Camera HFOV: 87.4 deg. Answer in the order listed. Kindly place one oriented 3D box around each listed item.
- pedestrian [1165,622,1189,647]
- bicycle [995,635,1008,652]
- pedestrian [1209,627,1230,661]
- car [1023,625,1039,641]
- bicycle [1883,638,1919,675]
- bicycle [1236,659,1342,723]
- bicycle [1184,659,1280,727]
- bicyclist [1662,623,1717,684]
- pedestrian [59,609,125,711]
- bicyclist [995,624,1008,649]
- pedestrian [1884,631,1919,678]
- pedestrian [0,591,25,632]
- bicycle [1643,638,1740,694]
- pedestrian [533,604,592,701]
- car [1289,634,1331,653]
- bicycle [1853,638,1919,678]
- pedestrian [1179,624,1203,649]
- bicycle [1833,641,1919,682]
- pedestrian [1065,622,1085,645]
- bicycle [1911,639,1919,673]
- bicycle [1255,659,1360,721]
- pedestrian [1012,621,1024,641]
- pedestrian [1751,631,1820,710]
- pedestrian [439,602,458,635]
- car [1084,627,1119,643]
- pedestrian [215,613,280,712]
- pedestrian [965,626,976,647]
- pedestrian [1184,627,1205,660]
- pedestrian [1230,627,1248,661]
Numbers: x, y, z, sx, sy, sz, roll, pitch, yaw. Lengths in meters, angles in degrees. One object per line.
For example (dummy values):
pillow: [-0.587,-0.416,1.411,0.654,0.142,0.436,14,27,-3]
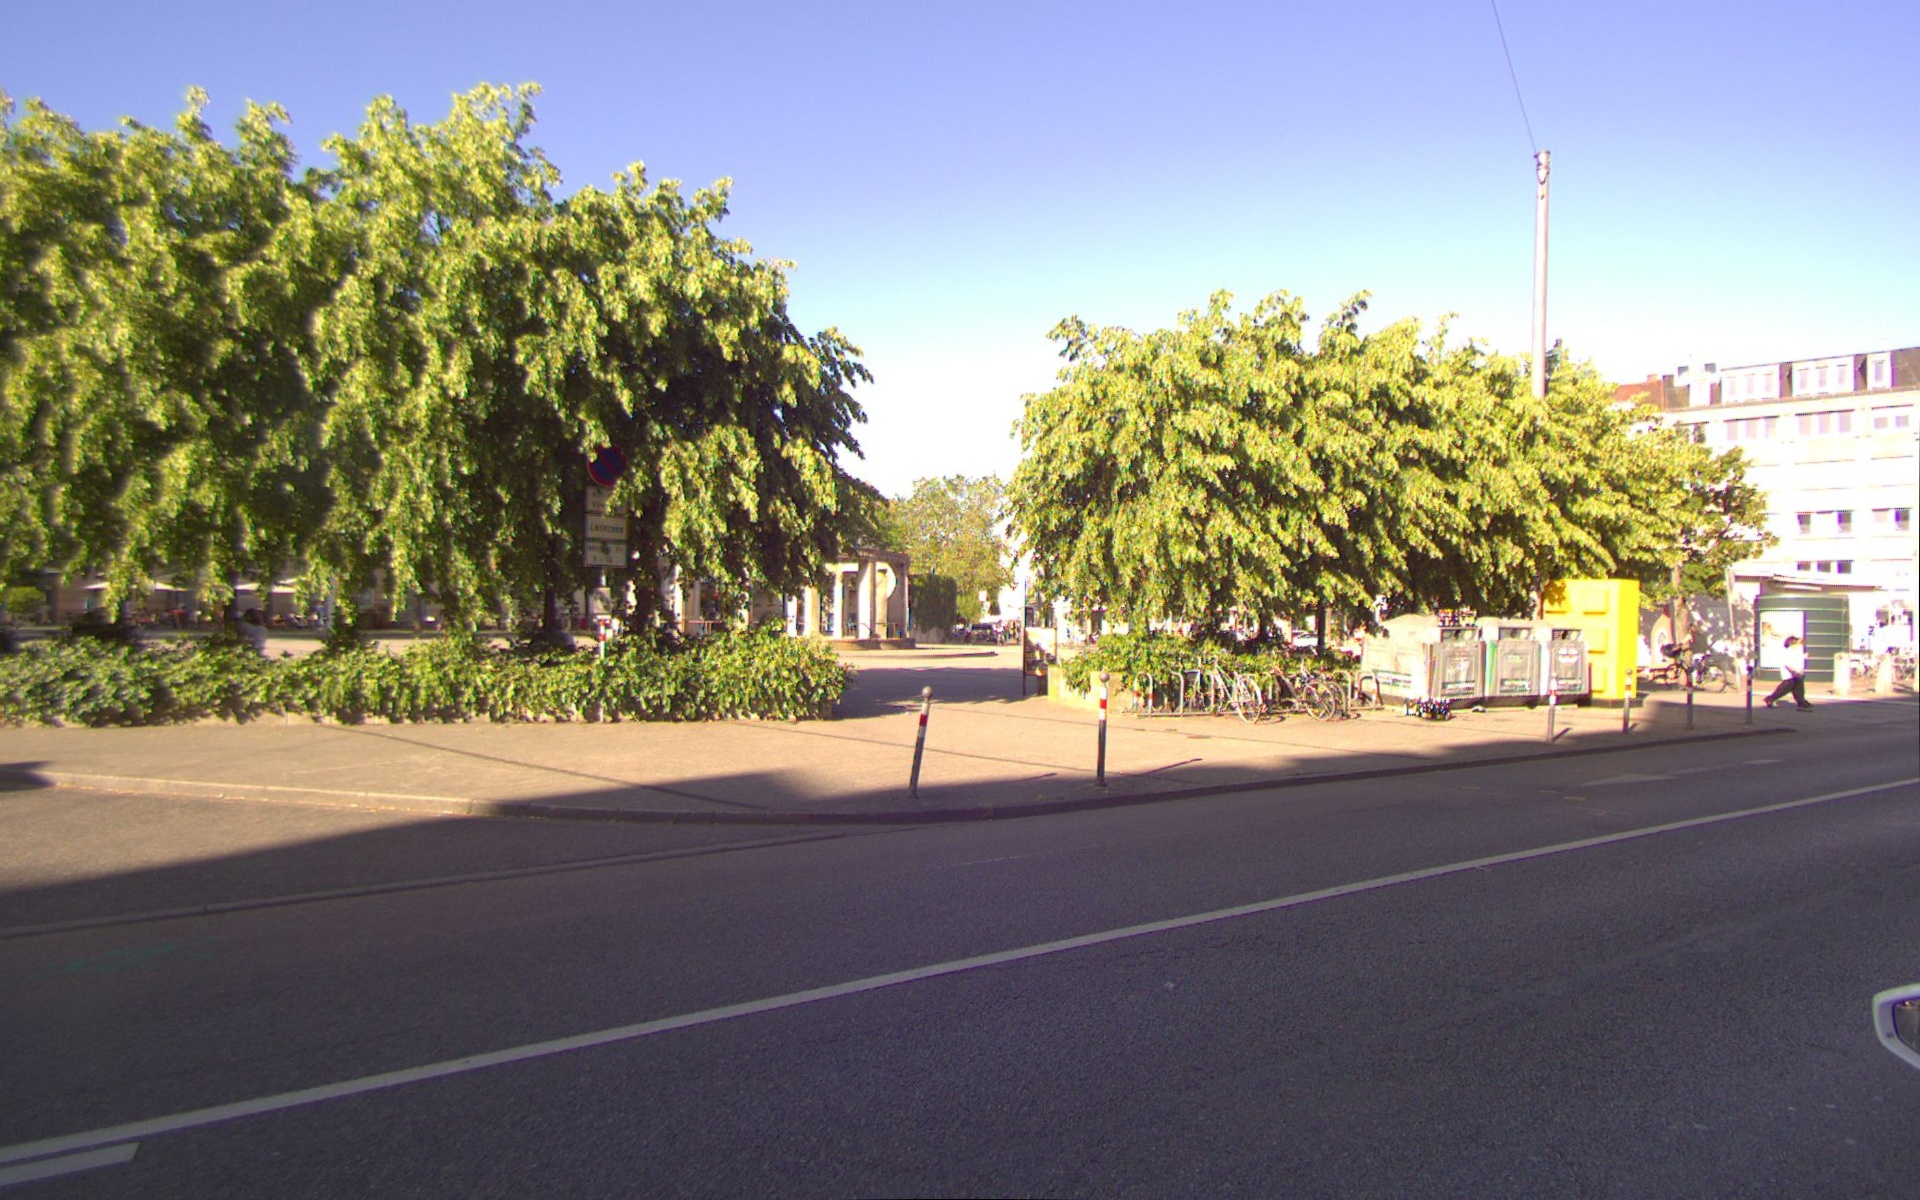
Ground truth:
pedestrian: [11.005,1.761,50.971,0.855,1.230,0.933,2,0,-15]
bicycle: [2.894,3.014,69.625,0.593,1.116,1.991,2,0,10]
pedestrian: [12.137,2.054,47.002,0.761,1.541,0.838,2,0,6]
car: [7.217,3.329,101.567,1.520,1.550,4.136,1,-1,4]
bicycle: [35.263,2.084,36.139,0.932,1.287,2.859,2,0,-32]
bicycle: [5.276,1.442,16.192,0.465,0.870,1.659,2,0,-35]
bicycle: [4.176,1.409,15.533,0.464,0.897,1.558,2,0,-29]
bicyclist: [18.671,1.366,25.720,0.598,1.504,0.954,2,0,-17]
pedestrian: [-12.857,0.868,14.891,0.615,1.456,0.647,2,0,-32]
bicyclist: [2.879,2.517,69.443,0.772,1.722,0.896,2,0,10]
pedestrian: [34.289,1.953,36.035,1.242,1.633,1.096,2,0,-4]
pedestrian: [-36.895,0.445,38.891,0.680,1.550,0.684,2,0,1]
bicycle: [18.672,1.658,25.694,0.620,1.239,1.993,3,1,-16]
pedestrian: [-6.529,0.845,16.507,0.688,1.541,0.676,2,0,-41]
car: [26.429,3.259,75.821,2.710,1.283,1.240,2,0,36]
bicycle: [33.145,2.040,35.073,0.923,1.291,2.764,2,0,-32]
pedestrian: [11.833,1.843,51.505,0.885,1.230,0.865,2,0,-12]
bicycle: [31.222,2.063,33.770,0.932,1.211,2.645,2,0,-32]
pedestrian: [9.664,2.825,84.481,1.277,1.867,1.100,2,0,28]
bicycle: [37.247,2.155,37.283,0.932,1.276,2.648,2,0,-32]
bicycle: [5.675,1.452,16.487,0.465,0.870,1.654,2,0,-35]
pedestrian: [5.450,2.899,95.069,0.891,1.845,0.952,2,0,17]
pedestrian: [17.147,1.446,20.871,0.688,1.564,0.915,2,0,-35]
pedestrian: [-24.277,0.878,47.679,0.730,1.550,0.690,2,0,-24]
car: [12.166,3.007,86.371,2.710,1.273,1.239,2,0,36]
pedestrian: [-10.849,0.931,15.308,0.581,1.456,0.615,2,0,33]
pedestrian: [0.791,2.788,76.138,0.616,1.544,0.577,2,0,36]
pedestrian: [11.258,2.084,48.153,0.904,1.541,0.936,2,0,15]
pedestrian: [13.065,2.061,47.045,0.598,1.528,0.557,2,0,-15]
